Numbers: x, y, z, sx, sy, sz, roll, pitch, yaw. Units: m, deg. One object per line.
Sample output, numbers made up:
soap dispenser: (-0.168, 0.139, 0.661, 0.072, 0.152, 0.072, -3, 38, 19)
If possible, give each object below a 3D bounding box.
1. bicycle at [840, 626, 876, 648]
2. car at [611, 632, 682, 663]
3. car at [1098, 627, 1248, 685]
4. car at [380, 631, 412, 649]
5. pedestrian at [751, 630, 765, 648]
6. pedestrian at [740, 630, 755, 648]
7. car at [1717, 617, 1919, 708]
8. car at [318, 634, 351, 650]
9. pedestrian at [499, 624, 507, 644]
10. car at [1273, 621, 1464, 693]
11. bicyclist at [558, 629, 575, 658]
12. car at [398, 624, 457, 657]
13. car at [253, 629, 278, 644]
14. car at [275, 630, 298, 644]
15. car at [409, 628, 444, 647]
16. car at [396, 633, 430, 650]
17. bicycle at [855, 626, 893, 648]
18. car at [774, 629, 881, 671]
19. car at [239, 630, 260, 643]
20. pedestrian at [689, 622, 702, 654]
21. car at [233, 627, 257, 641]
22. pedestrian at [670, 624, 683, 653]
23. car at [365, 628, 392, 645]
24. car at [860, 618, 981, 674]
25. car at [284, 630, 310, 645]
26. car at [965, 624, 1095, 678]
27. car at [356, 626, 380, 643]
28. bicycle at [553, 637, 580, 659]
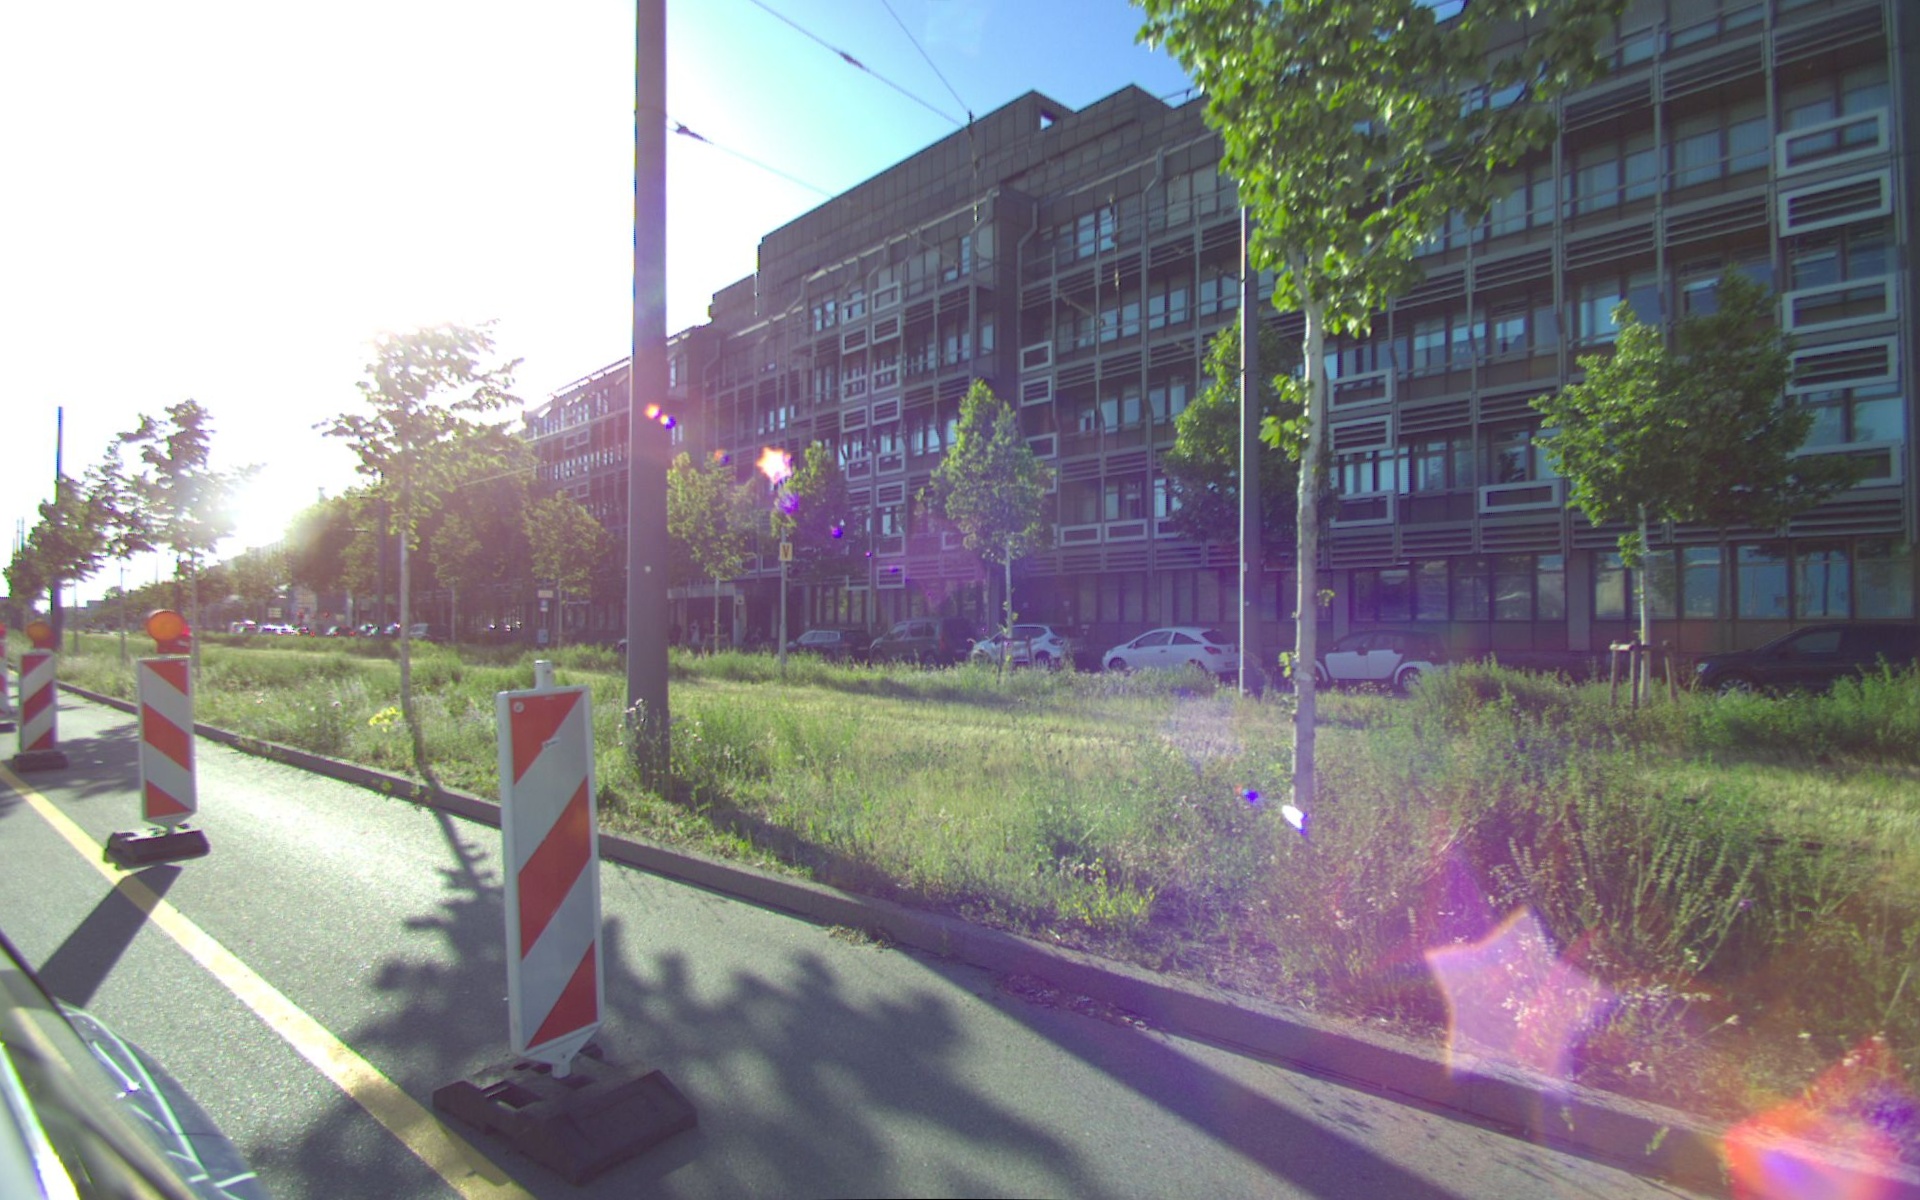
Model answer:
bicycle: (-5.026, 1.815, 49.933, 1.851, 1.080, 0.425, 2, -3, -40)
car: (-15.589, 2.327, 50.218, 1.696, 1.397, 4.043, -2, 0, -43)
car: (5.839, 1.502, 28.064, 1.606, 1.452, 3.821, -1, -1, -44)
car: (-53.778, 3.834, 96.449, 1.702, 1.614, 3.633, -1, 0, -45)
pedestrian: (-11.033, 2.125, 55.222, 0.609, 0.993, 0.499, 1, -2, -42)
pedestrian: (-11.779, 2.144, 56.083, 0.609, 0.993, 0.499, 1, -2, -42)
car: (16.340, 1.093, 18.469, 3.899, 1.472, 1.712, -2, 1, 42)
car: (-56.818, 3.786, 91.919, 1.696, 1.397, 4.042, 0, -1, -44)
pedestrian: (-41.521, 3.067, 91.885, 0.476, 1.763, 0.639, 2, -2, -42)
car: (9.813, 1.322, 24.510, 1.630, 1.566, 3.969, 0, -2, -44)
bicyclist: (-19.907, 2.208, 51.193, 0.706, 1.468, 0.558, -2, -3, 45)
car: (-29.907, 2.235, 56.821, 4.122, 1.760, 1.709, -2, -2, 44)
car: (-71.689, 3.796, 104.416, 1.608, 1.507, 3.784, 2, -2, -42)
car: (-76.106, 4.167, 114.392, 1.608, 1.507, 3.784, 2, -2, -42)
car: (-46.362, 3.253, 87.945, 1.702, 1.555, 3.633, -1, 0, -45)
car: (-49.895, 3.801, 92.296, 3.632, 1.497, 1.702, -2, -2, 44)
bicycle: (-4.160, 1.797, 49.042, 1.904, 1.080, 0.425, 2, -3, -40)
car: (-5.192, 1.901, 39.242, 4.506, 1.480, 1.710, -2, -1, 45)
car: (-80.905, 4.167, 115.221, 1.532, 1.390, 3.784, 1, -2, -42)
pedestrian: (-14.555, 2.086, 55.717, 0.514, 1.735, 0.537, 2, -2, -41)
car: (-86.413, 4.104, 122.292, 1.838, 1.694, 3.784, 2, -2, -42)
pedestrian: (-15.451, 2.080, 55.207, 0.514, 1.590, 0.537, 2, -2, -41)
car: (-57.561, 3.605, 100.115, 1.489, 1.614, 3.529, -1, 0, -45)
car: (-1.436, 1.568, 35.351, 1.730, 1.785, 4.334, -1, -1, -44)
car: (-69.695, 3.915, 106.371, 1.608, 1.507, 4.422, 1, -2, -42)
car: (2.152, 1.555, 31.753, 1.718, 1.548, 3.887, 0, -1, -44)
car: (-61.471, 3.561, 105.012, 1.371, 1.614, 3.268, -1, 0, -45)
bicycle: (-19.922, 2.425, 51.204, 1.771, 1.105, 0.558, -2, -3, 45)
